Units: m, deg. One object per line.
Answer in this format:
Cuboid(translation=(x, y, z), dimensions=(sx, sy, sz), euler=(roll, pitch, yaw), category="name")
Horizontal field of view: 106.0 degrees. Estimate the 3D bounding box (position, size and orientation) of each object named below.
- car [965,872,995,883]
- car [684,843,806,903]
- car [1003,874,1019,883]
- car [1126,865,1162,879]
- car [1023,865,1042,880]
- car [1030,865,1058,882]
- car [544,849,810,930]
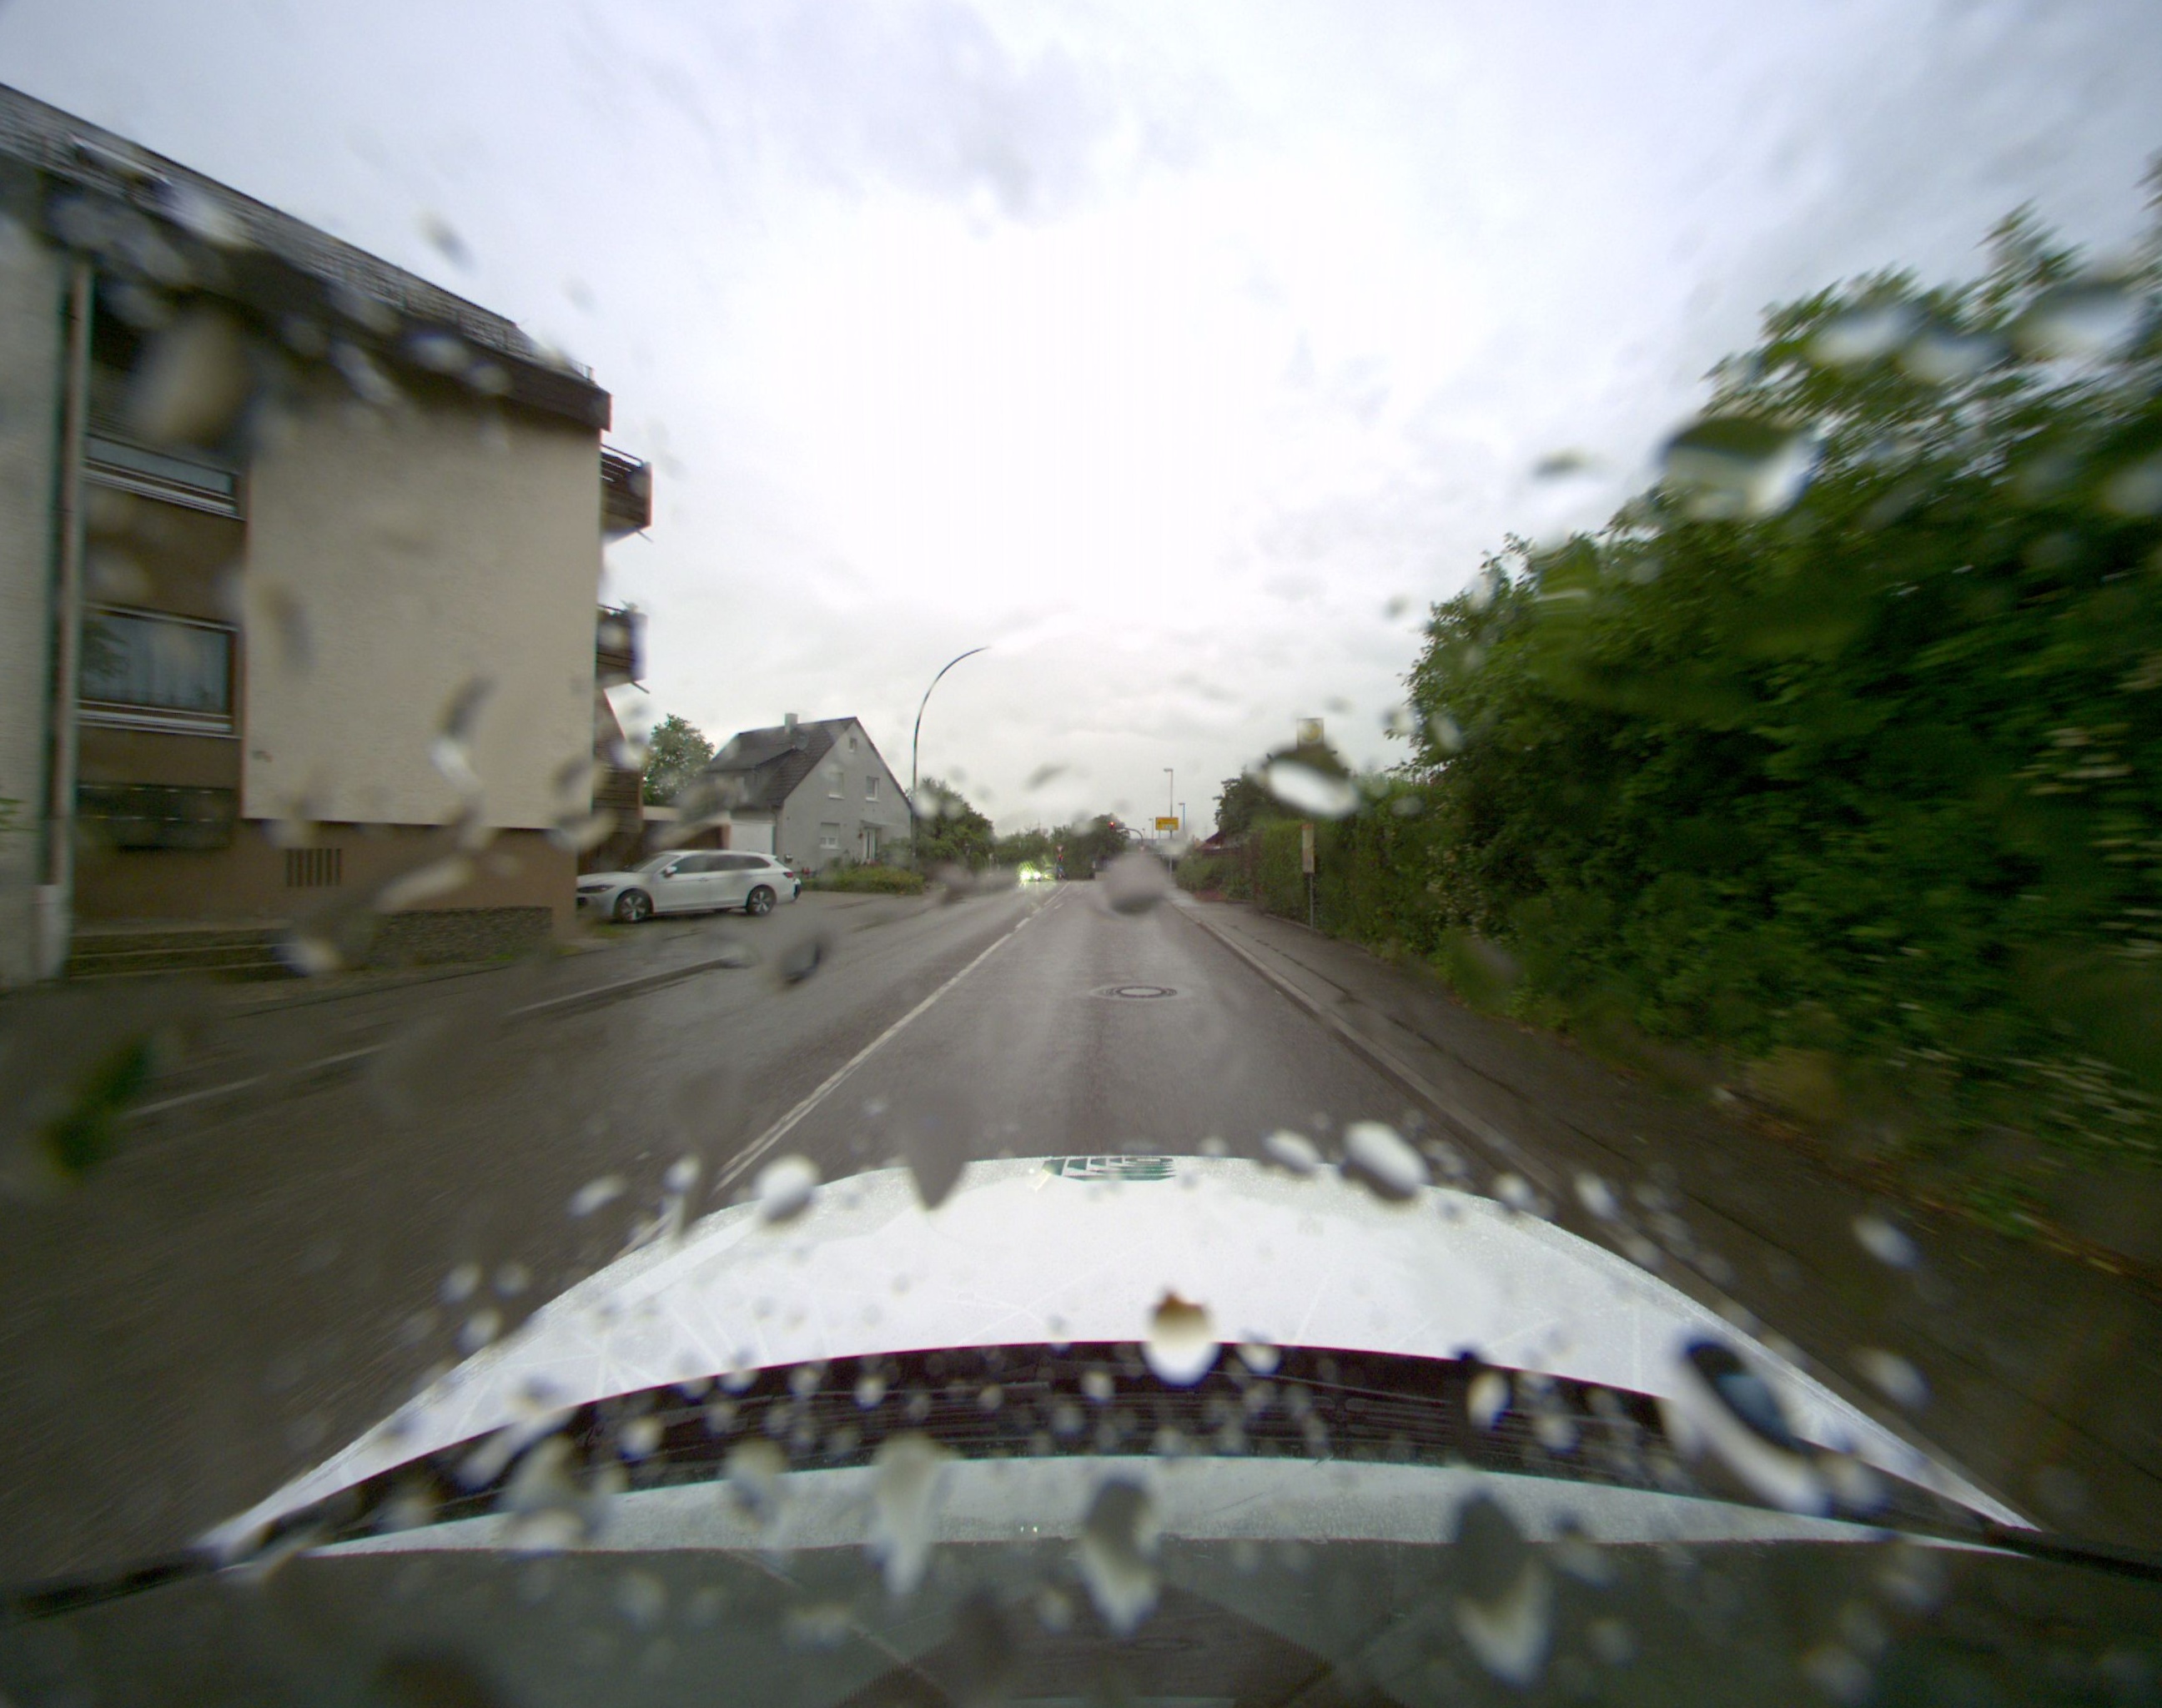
Cuboid(translation=(-15.253, 3.533, 122.662), dimensions=(3.954, 1.617, 1.953), euler=(-1, 2, 18), category="car")
Cuboid(translation=(-9.945, 0.527, 23.989), dimensions=(3.726, 1.508, 1.712), euler=(3, 0, 40), category="car")
Cuboid(translation=(-11.677, 4.089, 136.088), dimensions=(1.996, 1.464, 3.982), euler=(-2, 0, -13), category="car")
Cuboid(translation=(9.130, 2.633, 118.271), dimensions=(4.708, 1.690, 2.314), euler=(-4, -1, 14), category="car")
Cuboid(translation=(-5.281, 2.023, 88.767), dimensions=(1.799, 1.523, 4.000), euler=(0, 0, 0), category="car")
Cuboid(translation=(-4.586, 2.390, 101.629), dimensions=(1.755, 2.014, 4.023), euler=(0, 0, 24), category="car")
Cuboid(translation=(-8.627, 0.658, 17.871), dimensions=(1.883, 1.477, 4.913), euler=(2, 1, 35), category="car")
